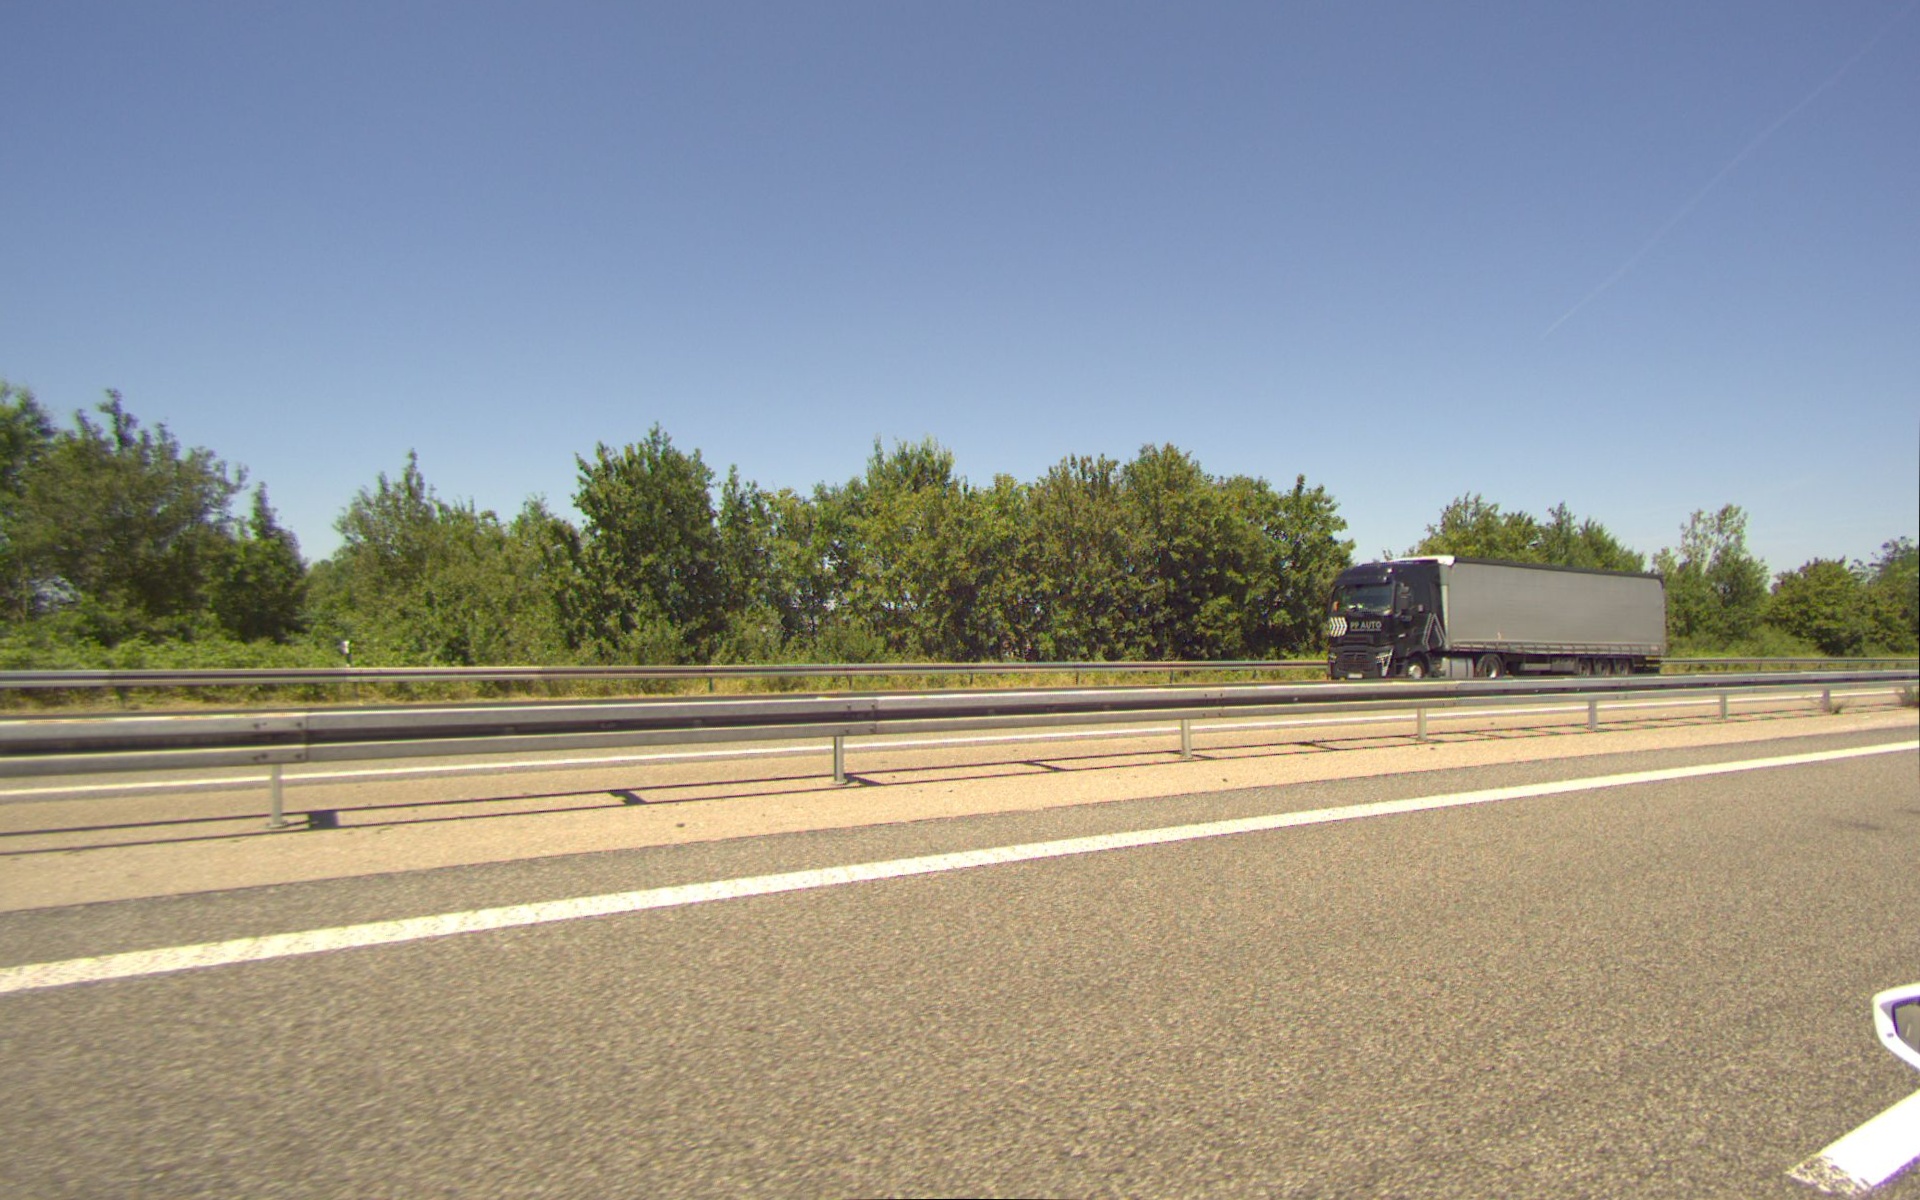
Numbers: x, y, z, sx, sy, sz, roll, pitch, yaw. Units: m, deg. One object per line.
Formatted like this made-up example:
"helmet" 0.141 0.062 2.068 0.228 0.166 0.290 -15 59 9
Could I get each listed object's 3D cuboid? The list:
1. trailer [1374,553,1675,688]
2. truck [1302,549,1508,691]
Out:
"trailer" 20.762 0.773 36.414 13.385 4.241 3.332 1 -2 -31
"truck" 14.478 0.644 32.656 6.121 4.184 3.182 1 -1 -30
